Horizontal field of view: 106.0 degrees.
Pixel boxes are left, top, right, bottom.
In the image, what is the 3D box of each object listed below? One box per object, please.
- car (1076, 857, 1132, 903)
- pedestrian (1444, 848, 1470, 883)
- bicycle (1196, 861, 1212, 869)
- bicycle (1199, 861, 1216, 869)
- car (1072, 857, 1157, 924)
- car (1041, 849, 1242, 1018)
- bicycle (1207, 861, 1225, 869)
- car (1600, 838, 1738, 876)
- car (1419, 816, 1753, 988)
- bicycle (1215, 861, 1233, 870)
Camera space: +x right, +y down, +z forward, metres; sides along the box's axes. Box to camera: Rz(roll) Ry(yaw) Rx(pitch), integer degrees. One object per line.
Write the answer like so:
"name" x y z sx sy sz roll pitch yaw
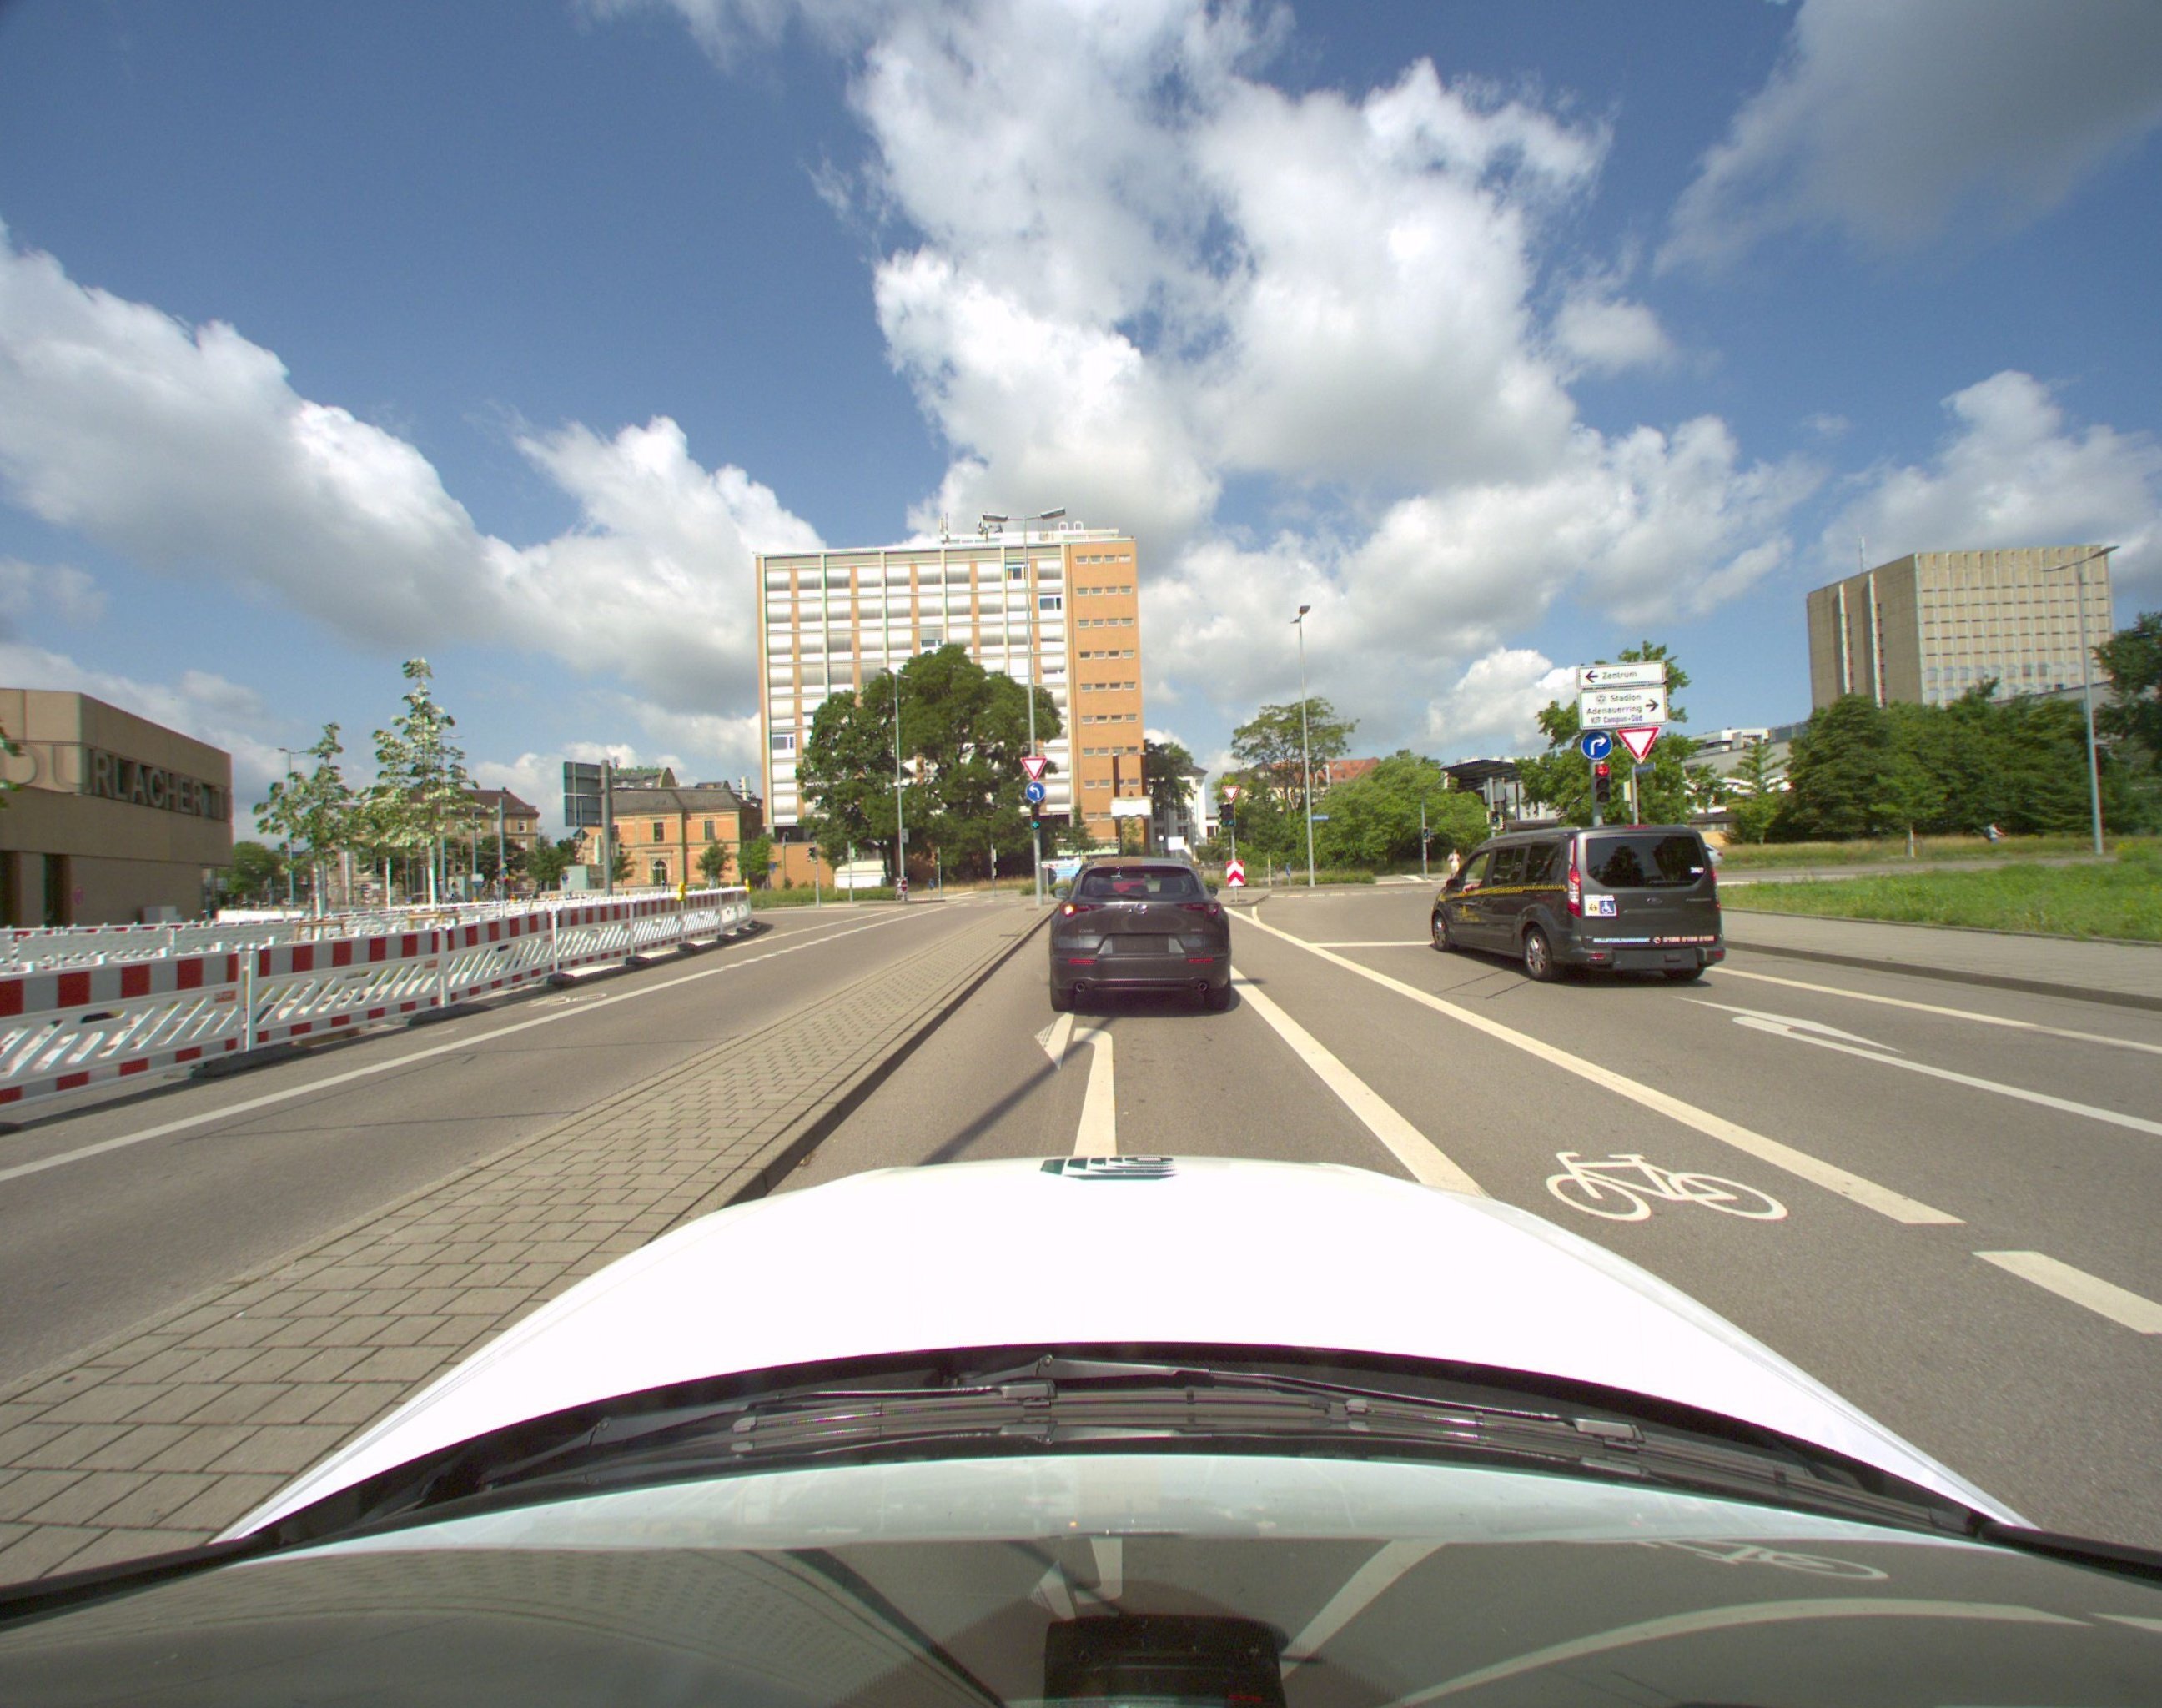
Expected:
"car" 0.882 0.910 29.664 1.840 1.472 4.338 -3 -1 3
"pedestrian" 20.595 0.621 44.603 0.696 1.857 1.177 -2 -2 -8
"bicycle" 16.890 1.501 112.135 2.048 0.936 0.804 -3 -1 1
"bicycle" 16.627 1.454 107.278 2.048 0.936 0.804 -3 -1 1
"car" 0.890 0.838 19.672 1.808 1.439 4.072 -1 -1 5
"car" 0.607 0.729 9.413 1.799 1.508 4.206 0 0 2
"bicycle" 16.960 1.403 102.520 2.048 0.936 0.804 -3 -1 1
"car" 27.187 0.177 37.811 4.740 1.442 2.065 -3 -3 6
"car" 6.313 0.525 10.973 1.840 1.785 4.676 -1 0 4
"bicycle" 17.207 1.355 97.829 2.048 0.936 0.804 -3 -1 1
